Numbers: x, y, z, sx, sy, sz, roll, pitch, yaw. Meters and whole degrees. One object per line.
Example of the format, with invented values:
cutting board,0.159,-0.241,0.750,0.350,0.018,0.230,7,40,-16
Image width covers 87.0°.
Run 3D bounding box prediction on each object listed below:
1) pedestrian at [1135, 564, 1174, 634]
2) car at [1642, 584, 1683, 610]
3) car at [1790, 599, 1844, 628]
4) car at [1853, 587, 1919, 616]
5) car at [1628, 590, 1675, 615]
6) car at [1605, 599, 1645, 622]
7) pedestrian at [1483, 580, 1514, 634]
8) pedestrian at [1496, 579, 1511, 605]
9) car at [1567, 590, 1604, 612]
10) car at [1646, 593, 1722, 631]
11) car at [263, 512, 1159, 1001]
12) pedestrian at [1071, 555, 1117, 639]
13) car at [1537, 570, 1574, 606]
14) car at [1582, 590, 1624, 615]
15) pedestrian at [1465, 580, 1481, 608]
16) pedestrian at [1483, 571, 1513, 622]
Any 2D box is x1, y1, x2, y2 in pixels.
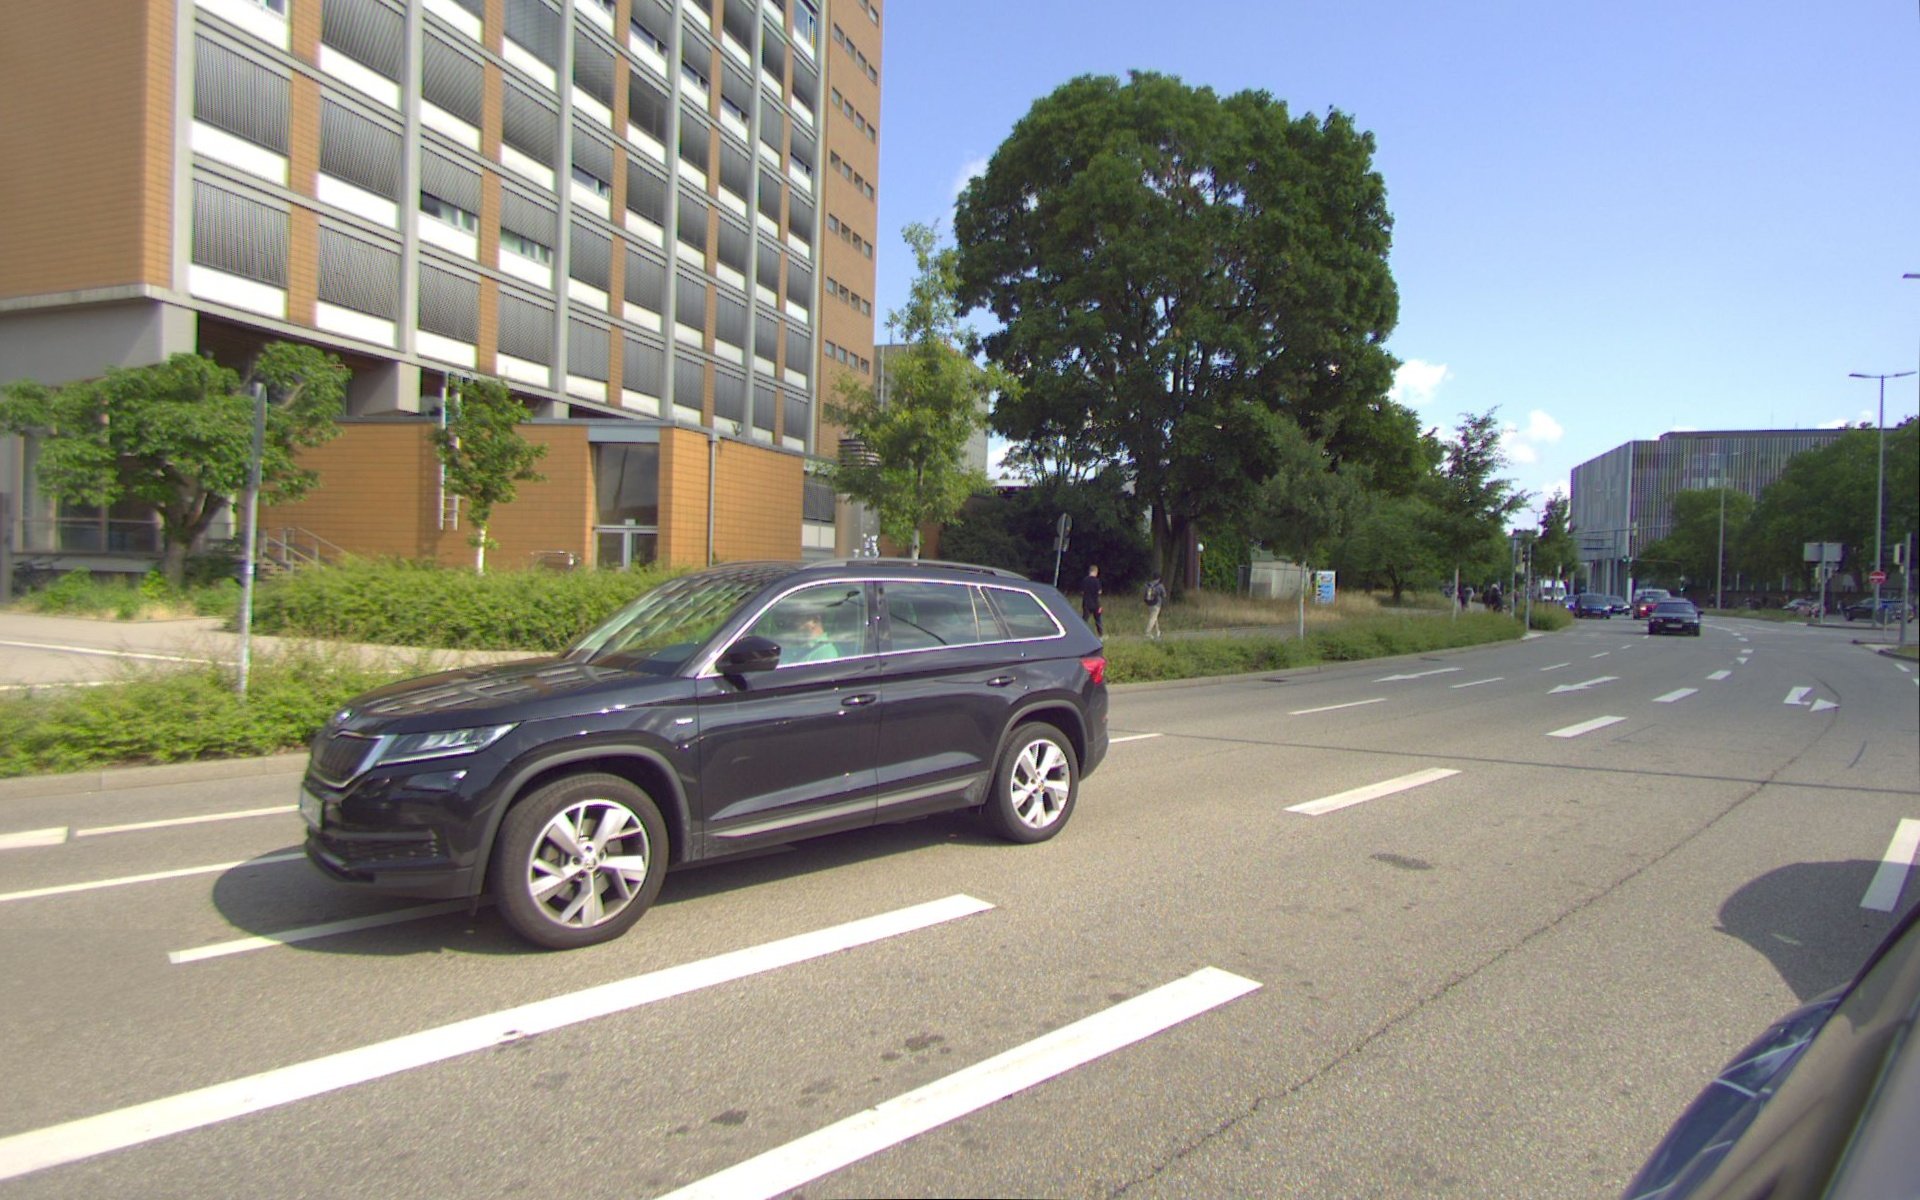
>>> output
pedestrian,5.056,-0.038,26.337,0.634,1.766,0.671,0,5,-41
car,58.101,-0.257,83.764,1.980,2.039,5.029,0,0,26
car,62.990,0.985,74.422,1.749,2.039,3.592,0,0,18
car,55.696,0.063,60.424,1.972,1.616,3.980,2,1,16
car,43.965,0.119,64.406,1.982,1.504,3.960,2,2,28
car,50.058,0.767,76.237,1.871,1.638,3.966,0,0,25
pedestrian,20.866,0.264,39.212,0.980,2.039,1.117,0,0,33
pedestrian,43.864,-0.640,81.653,0.980,2.039,1.117,2,1,33
car,44.886,0.034,72.725,1.982,1.504,3.960,2,2,28
car,29.479,0.471,41.177,1.993,1.415,4.439,1,1,43
car,-1.077,0.512,5.794,4.603,1.689,1.996,-1,0,-42
pedestrian,3.126,-0.074,23.664,0.634,1.893,0.760,0,4,-40
car,50.282,-1.040,85.600,2.465,2.915,6.086,2,1,29
car,41.521,0.122,65.439,1.982,1.504,3.960,2,2,28
pedestrian,38.099,-0.435,75.180,0.980,2.039,1.117,0,0,33
pedestrian,21.710,-0.137,40.810,0.980,2.039,1.117,0,0,33
